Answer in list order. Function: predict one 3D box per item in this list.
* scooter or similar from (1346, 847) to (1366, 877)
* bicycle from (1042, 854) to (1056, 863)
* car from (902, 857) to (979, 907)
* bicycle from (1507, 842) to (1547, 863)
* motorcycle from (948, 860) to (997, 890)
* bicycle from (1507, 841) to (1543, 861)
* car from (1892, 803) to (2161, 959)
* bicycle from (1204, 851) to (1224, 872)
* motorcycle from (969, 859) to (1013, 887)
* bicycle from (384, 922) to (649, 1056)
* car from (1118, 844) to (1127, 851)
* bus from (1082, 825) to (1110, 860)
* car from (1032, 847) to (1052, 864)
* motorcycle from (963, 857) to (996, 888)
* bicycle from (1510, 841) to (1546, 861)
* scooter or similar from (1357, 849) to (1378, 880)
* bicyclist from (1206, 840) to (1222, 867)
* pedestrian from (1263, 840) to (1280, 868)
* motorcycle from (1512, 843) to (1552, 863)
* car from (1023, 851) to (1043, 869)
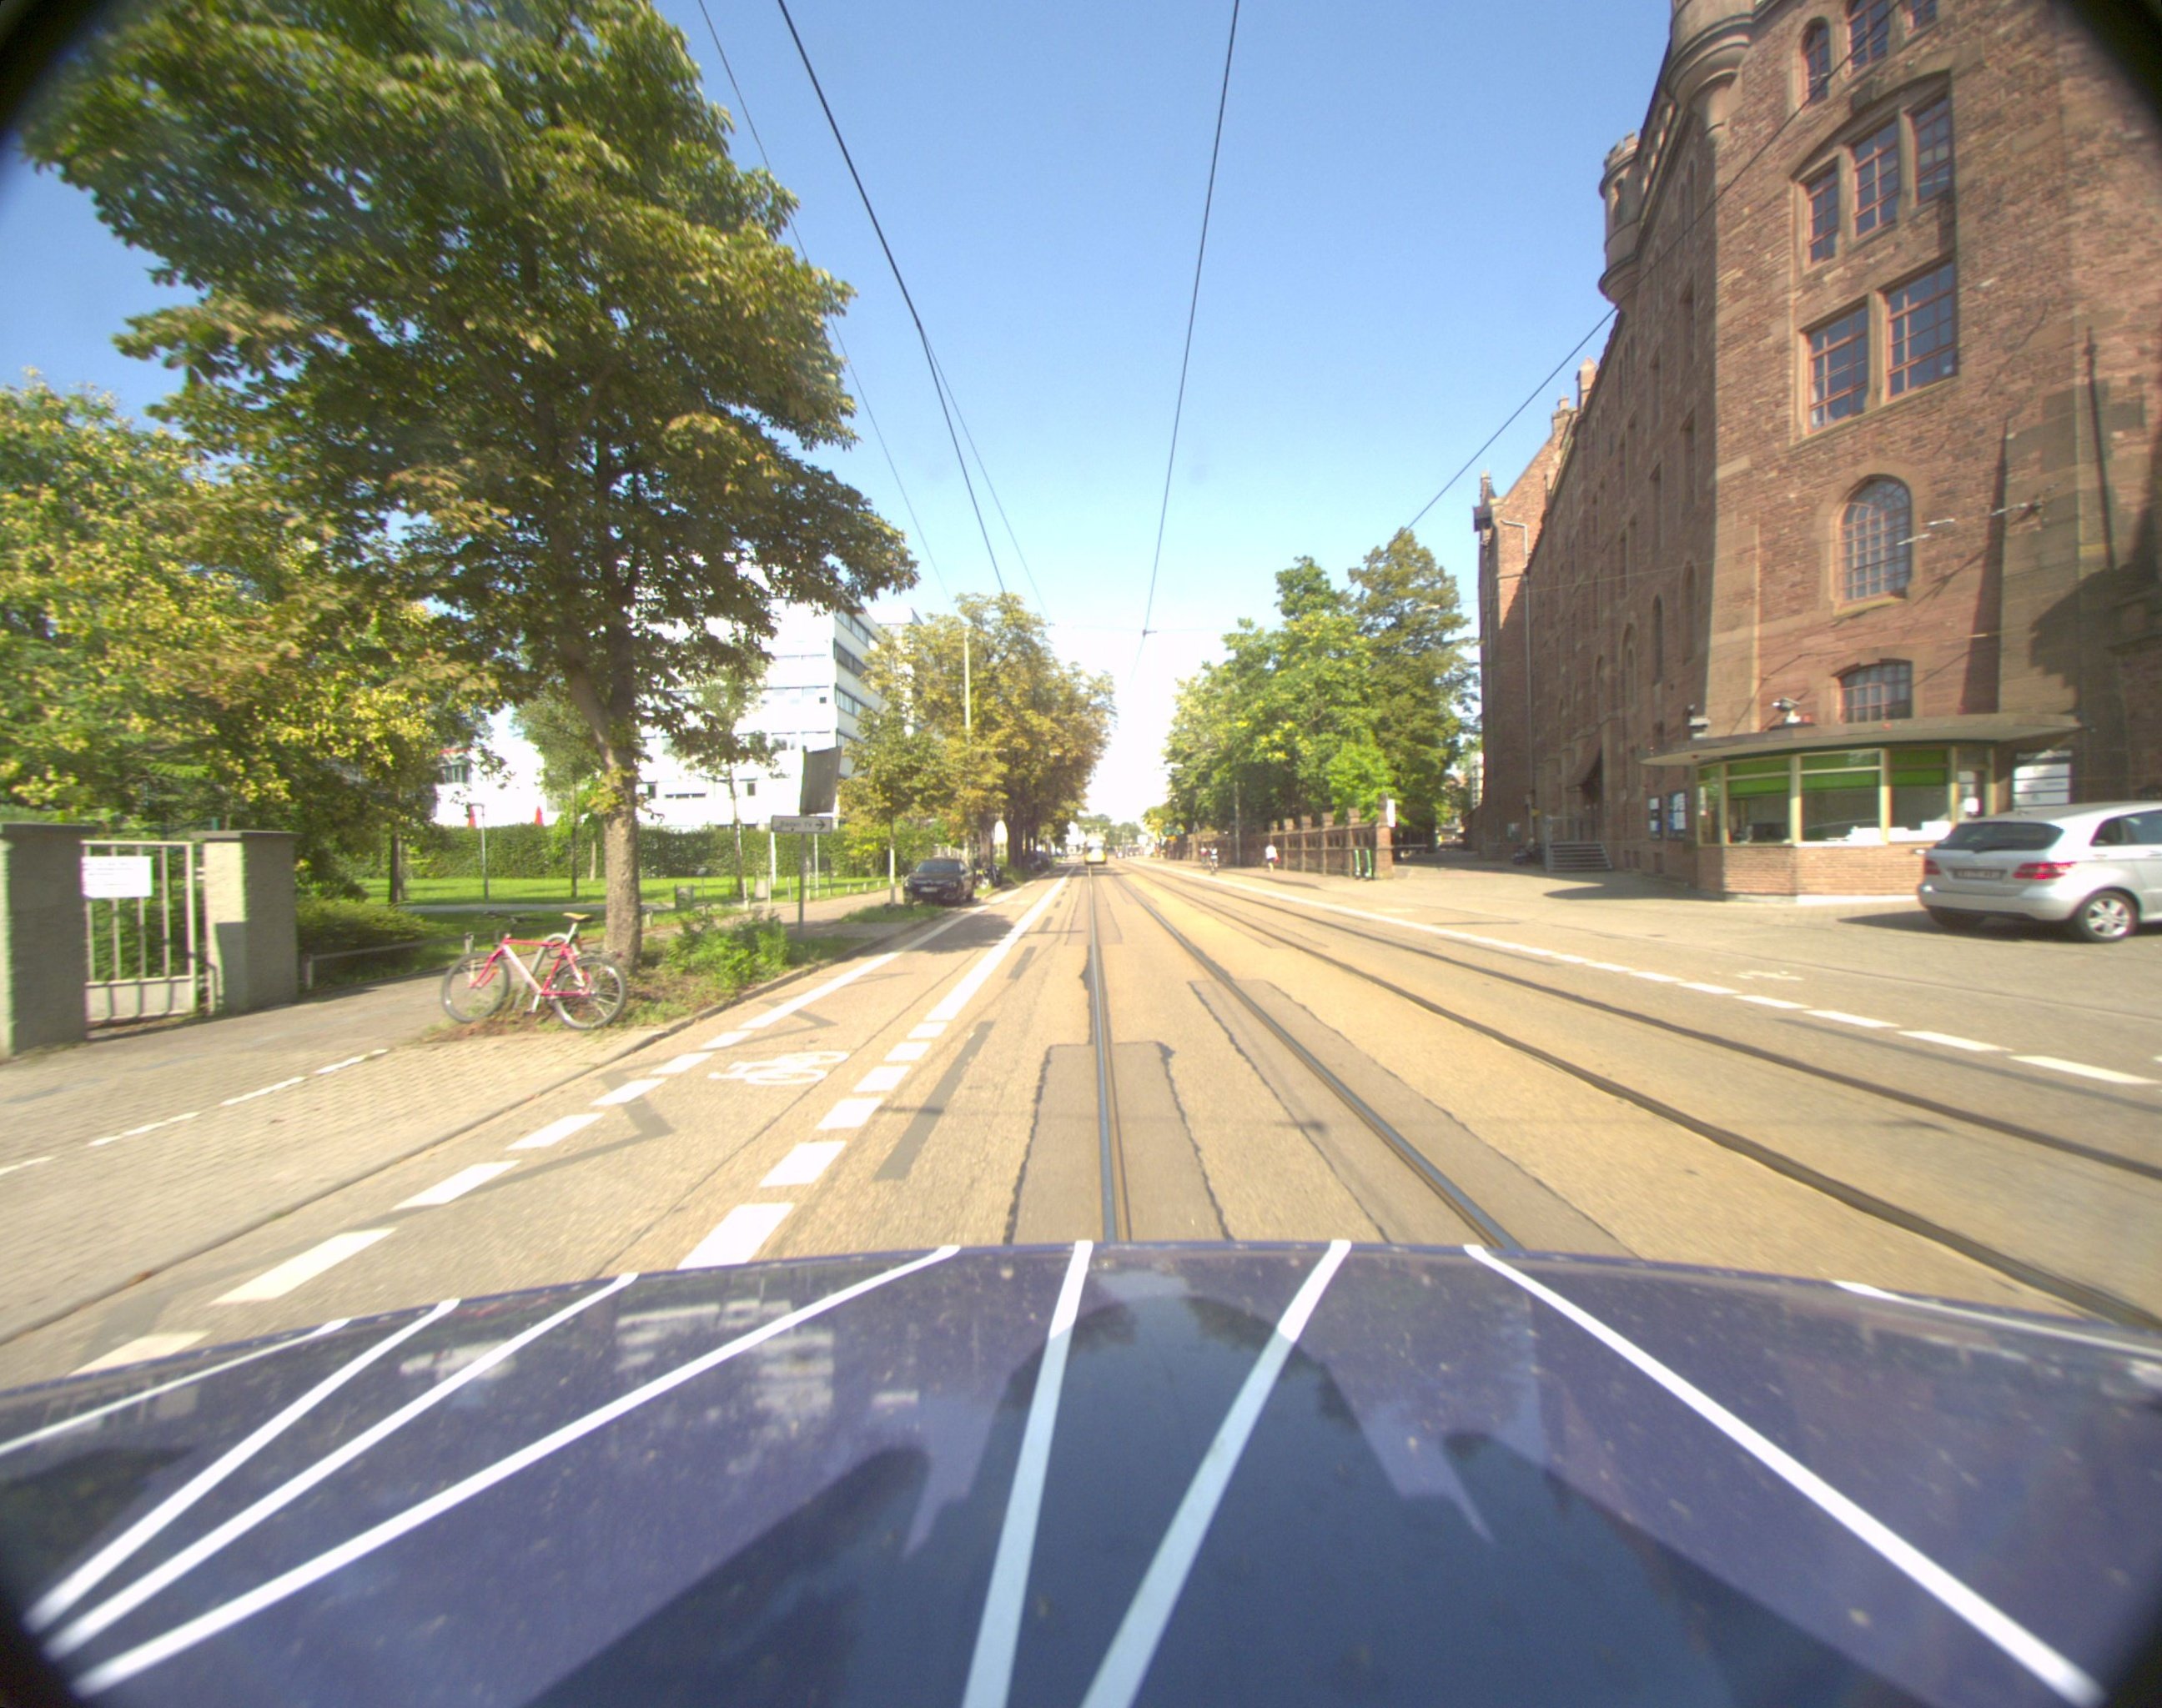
[{"bbox_3d":[10.973,0.325,30.350,0.818,1.142,0.283,-6,3,-35],"label":"scooter or similar"},{"bbox_3d":[-3.705,0.479,87.925,1.621,1.009,0.382,-1,1,-3],"label":"bicycle"},{"bbox_3d":[-4.520,0.844,25.083,1.745,1.477,4.436,0,0,-1],"label":"car"},{"bbox_3d":[23.677,-0.070,40.356,1.772,1.040,0.666,-1,1,36],"label":"bicycle"},{"bbox_3d":[-4.597,0.894,32.191,1.984,1.218,0.647,-1,1,26],"label":"motorcycle"},{"bbox_3d":[24.165,-0.151,41.369,1.659,1.040,0.566,-1,1,36],"label":"bicycle"},{"bbox_3d":[13.310,0.240,9.623,3.908,1.587,1.823,-5,1,3],"label":"car"},{"bbox_3d":[7.623,0.419,43.643,0.699,1.151,2.037,-1,1,-2],"label":"bicycle"},{"bbox_3d":[-4.247,0.876,35.820,2.061,1.236,0.846,1,1,39],"label":"motorcycle"},{"bbox_3d":[-5.036,1.185,6.880,1.773,1.058,0.796,0,1,-1],"label":"bicycle"},{"bbox_3d":[8.188,-1.292,149.873,1.694,1.434,4.000,-1,0,1],"label":"car"},{"bbox_3d":[1.799,-1.327,87.503,2.900,3.772,9.319,-2,1,3],"label":"bus"},{"bbox_3d":[-3.941,0.124,76.962,1.866,1.644,4.183,0,1,-1],"label":"car"},{"bbox_3d":[-4.624,0.830,34.505,0.846,1.319,2.062,-1,1,-28],"label":"motorcycle"},{"bbox_3d":[24.715,-0.166,42.036,1.659,1.040,0.566,-1,1,36],"label":"bicycle"},{"bbox_3d":[10.971,0.391,29.117,0.818,1.142,0.283,-6,3,-35],"label":"scooter or similar"},{"bbox_3d":[7.610,-0.035,43.582,0.699,1.571,1.087,-1,1,-2],"label":"bicyclist"},{"bbox_3d":[10.677,-0.004,42.559,0.717,1.580,0.775,-2,1,0],"label":"pedestrian"},{"bbox_3d":[23.307,-0.044,39.301,1.694,0.995,0.583,-1,1,25],"label":"motorcycle"},{"bbox_3d":[-4.057,0.505,65.101,1.566,1.433,3.563,1,1,-2],"label":"car"}]
